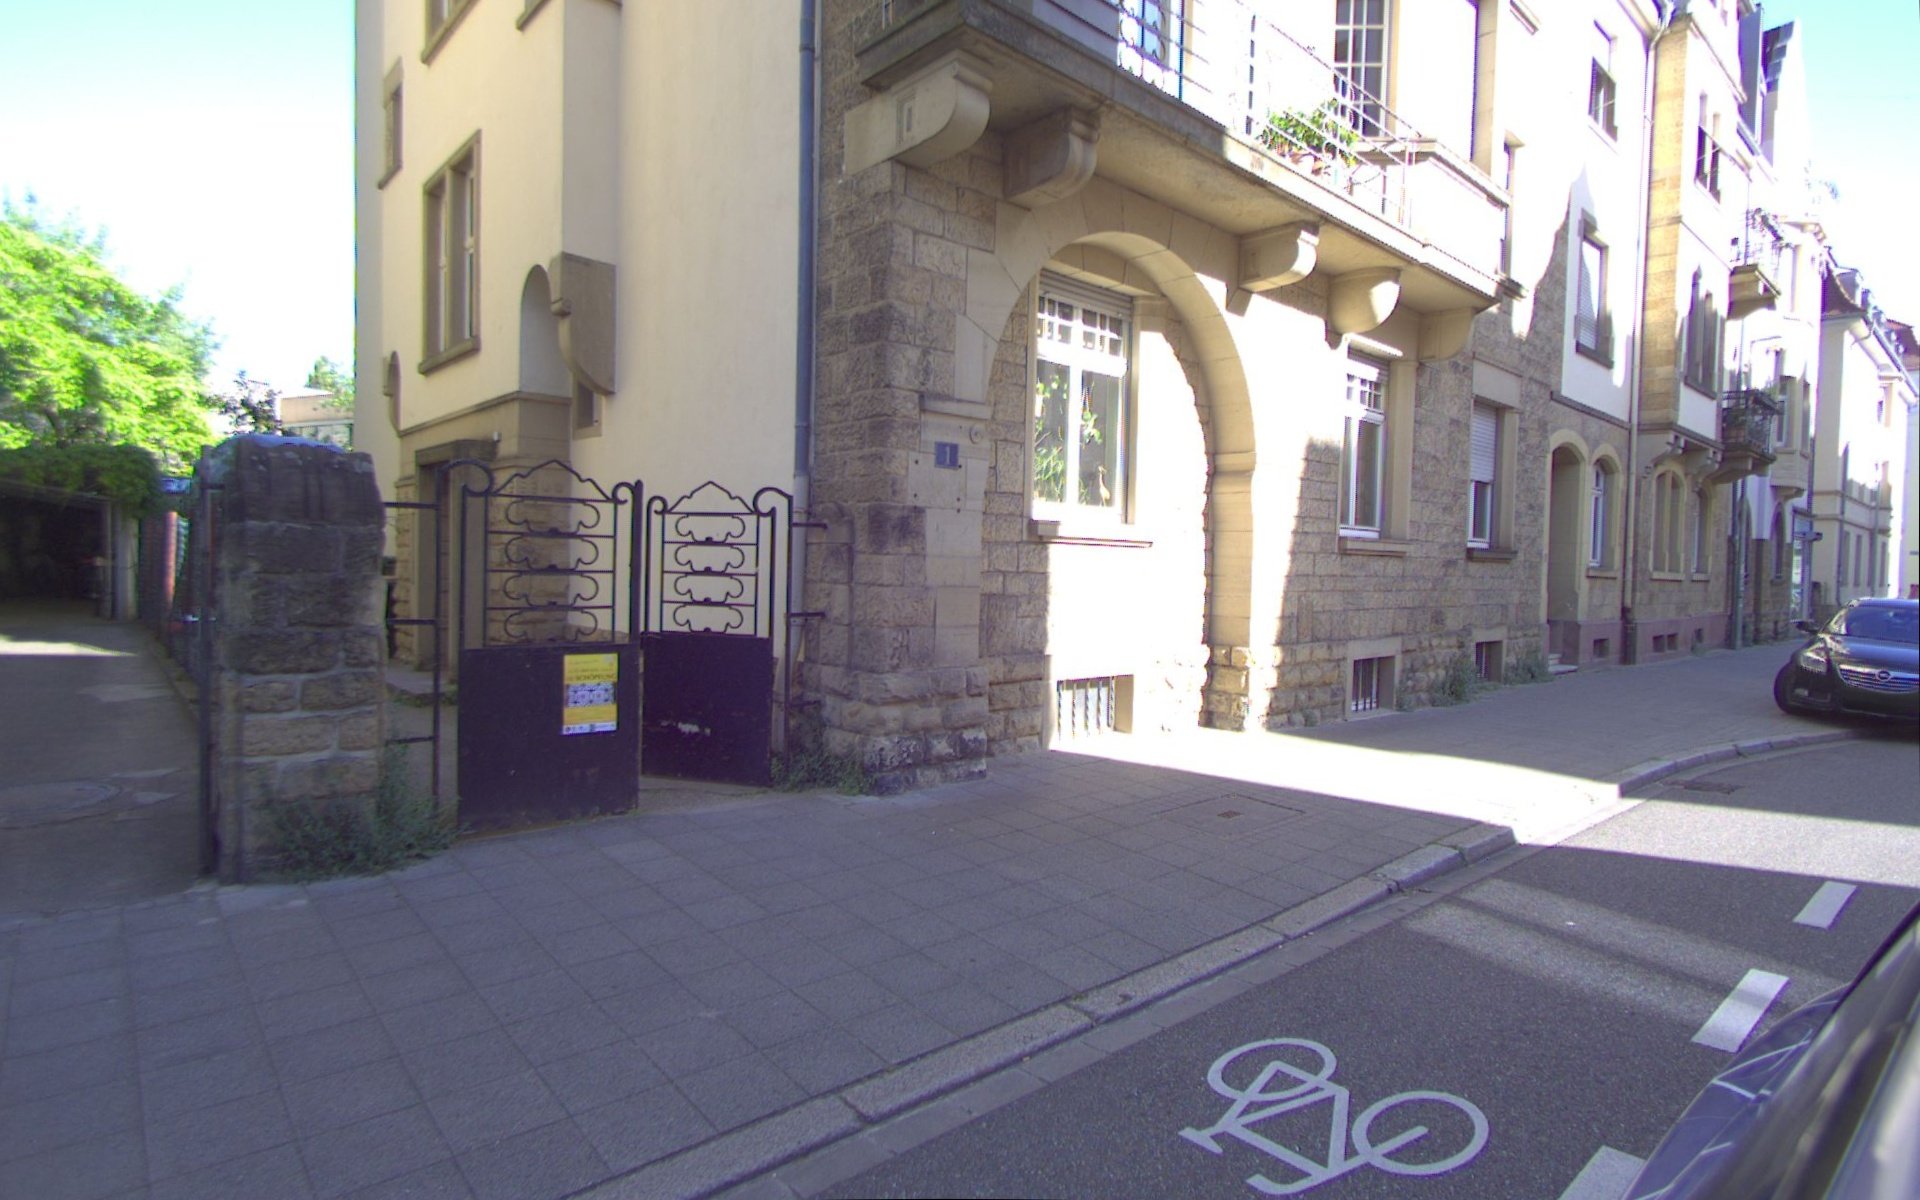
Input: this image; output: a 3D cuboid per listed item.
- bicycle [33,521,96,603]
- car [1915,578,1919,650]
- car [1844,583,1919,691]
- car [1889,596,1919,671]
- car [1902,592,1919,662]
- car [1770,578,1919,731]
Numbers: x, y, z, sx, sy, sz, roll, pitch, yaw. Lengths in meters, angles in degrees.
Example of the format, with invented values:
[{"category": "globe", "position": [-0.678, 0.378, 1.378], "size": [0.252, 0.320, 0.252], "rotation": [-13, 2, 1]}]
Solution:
[{"category": "bicycle", "position": [-18.301, -0.808, 20.721], "size": [0.903, 1.530, 2.672], "rotation": [0, 4, -41]}, {"category": "car", "position": [26.234, 0.346, 26.049], "size": [4.247, 1.860, 2.004], "rotation": [-1, 4, -42]}, {"category": "car", "position": [15.532, 0.573, 15.865], "size": [4.247, 1.527, 2.004], "rotation": [0, 3, -42]}, {"category": "car", "position": [18.795, 0.627, 18.970], "size": [3.667, 1.295, 1.659], "rotation": [-1, 4, -42]}, {"category": "car", "position": [22.172, 0.590, 22.191], "size": [4.247, 1.440, 1.823], "rotation": [-1, 4, -42]}, {"category": "car", "position": [11.479, 0.577, 12.159], "size": [4.043, 1.526, 2.023], "rotation": [-1, 5, -42]}]
